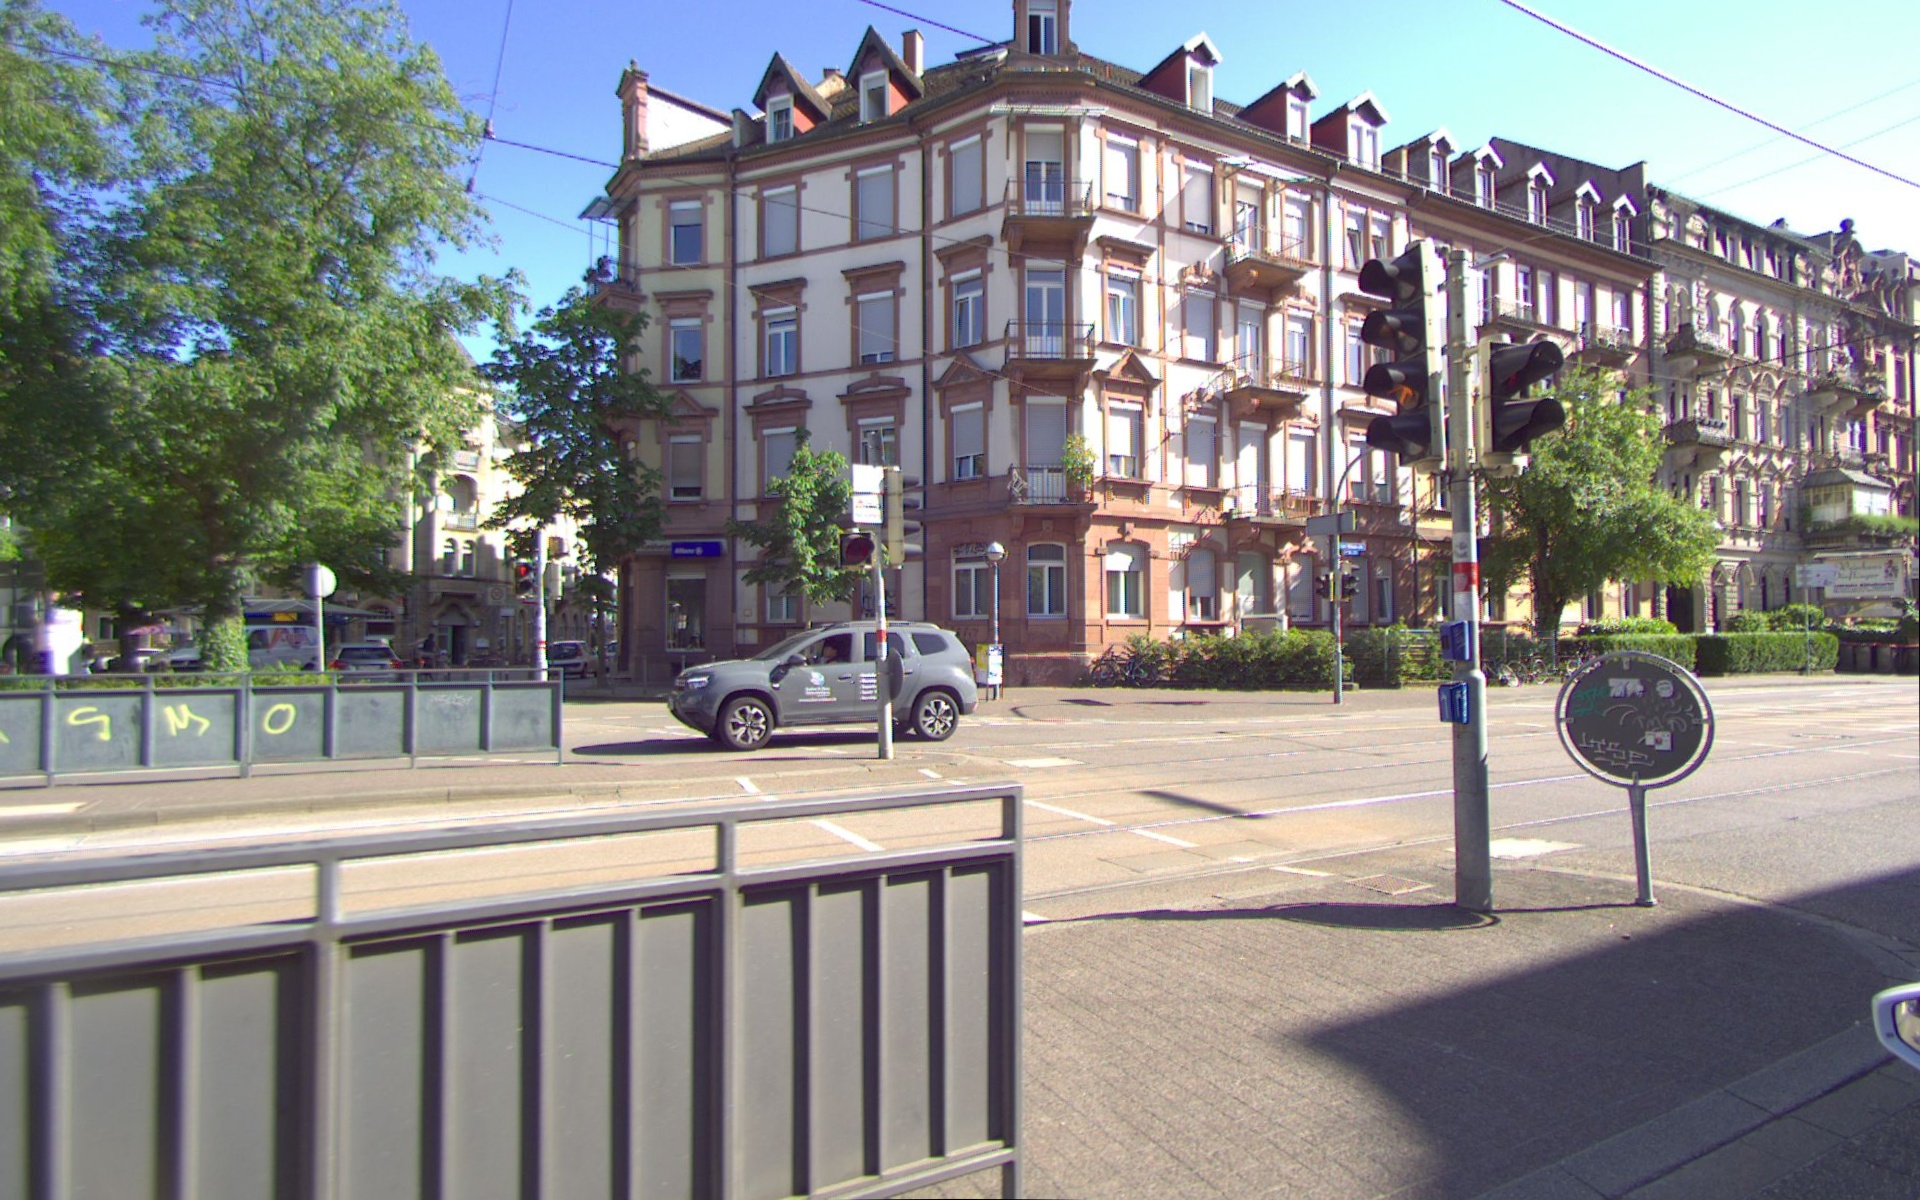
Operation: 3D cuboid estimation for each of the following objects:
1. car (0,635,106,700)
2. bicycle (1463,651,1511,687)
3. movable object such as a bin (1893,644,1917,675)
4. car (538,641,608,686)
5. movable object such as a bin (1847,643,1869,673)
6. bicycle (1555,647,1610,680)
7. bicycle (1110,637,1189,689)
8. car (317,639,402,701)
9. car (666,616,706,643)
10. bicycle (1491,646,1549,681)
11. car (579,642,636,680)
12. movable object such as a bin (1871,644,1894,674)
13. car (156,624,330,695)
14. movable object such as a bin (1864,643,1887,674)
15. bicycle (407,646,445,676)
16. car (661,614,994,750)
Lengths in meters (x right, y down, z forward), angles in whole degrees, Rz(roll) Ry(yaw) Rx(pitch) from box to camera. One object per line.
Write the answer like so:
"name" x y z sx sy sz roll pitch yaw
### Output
"car" -23.683 1.663 24.540 1.713 1.562 4.001 -4 -5 37
"bicycle" 14.371 1.866 27.390 1.432 0.938 0.341 1 -1 -24
"movable object such as a bin" 34.943 2.187 37.140 0.534 1.100 0.477 1 -1 -27
"car" -15.342 2.502 39.937 1.682 1.622 3.454 0 -1 -5
"movable object such as a bin" 33.754 2.161 37.753 0.534 1.100 0.477 1 -1 -27
"bicycle" 18.095 1.836 29.183 1.916 0.938 0.341 1 -1 -24
"bicycle" 4.911 1.618 26.055 2.004 1.313 0.421 0 -1 14
"car" -15.999 1.808 26.712 1.565 1.461 3.419 1 -1 -37
"car" -15.129 1.628 55.548 1.534 1.429 3.454 0 -1 -5
"bicycle" 15.773 1.786 28.278 1.916 0.938 0.341 1 -1 -24
"car" -16.422 2.810 46.915 1.694 1.626 3.454 0 -1 -5
"movable object such as a bin" 34.544 2.193 37.609 0.534 1.100 0.477 1 -1 -27
"car" -21.733 1.725 30.733 1.888 1.968 4.857 0 -1 -1
"movable object such as a bin" 34.002 2.166 37.314 0.534 1.100 0.477 1 -1 -27
"bicycle" -19.008 2.172 35.758 0.563 1.006 1.548 0 -1 -2
"car" -1.814 1.088 13.986 4.214 1.639 1.889 1 -4 -30
